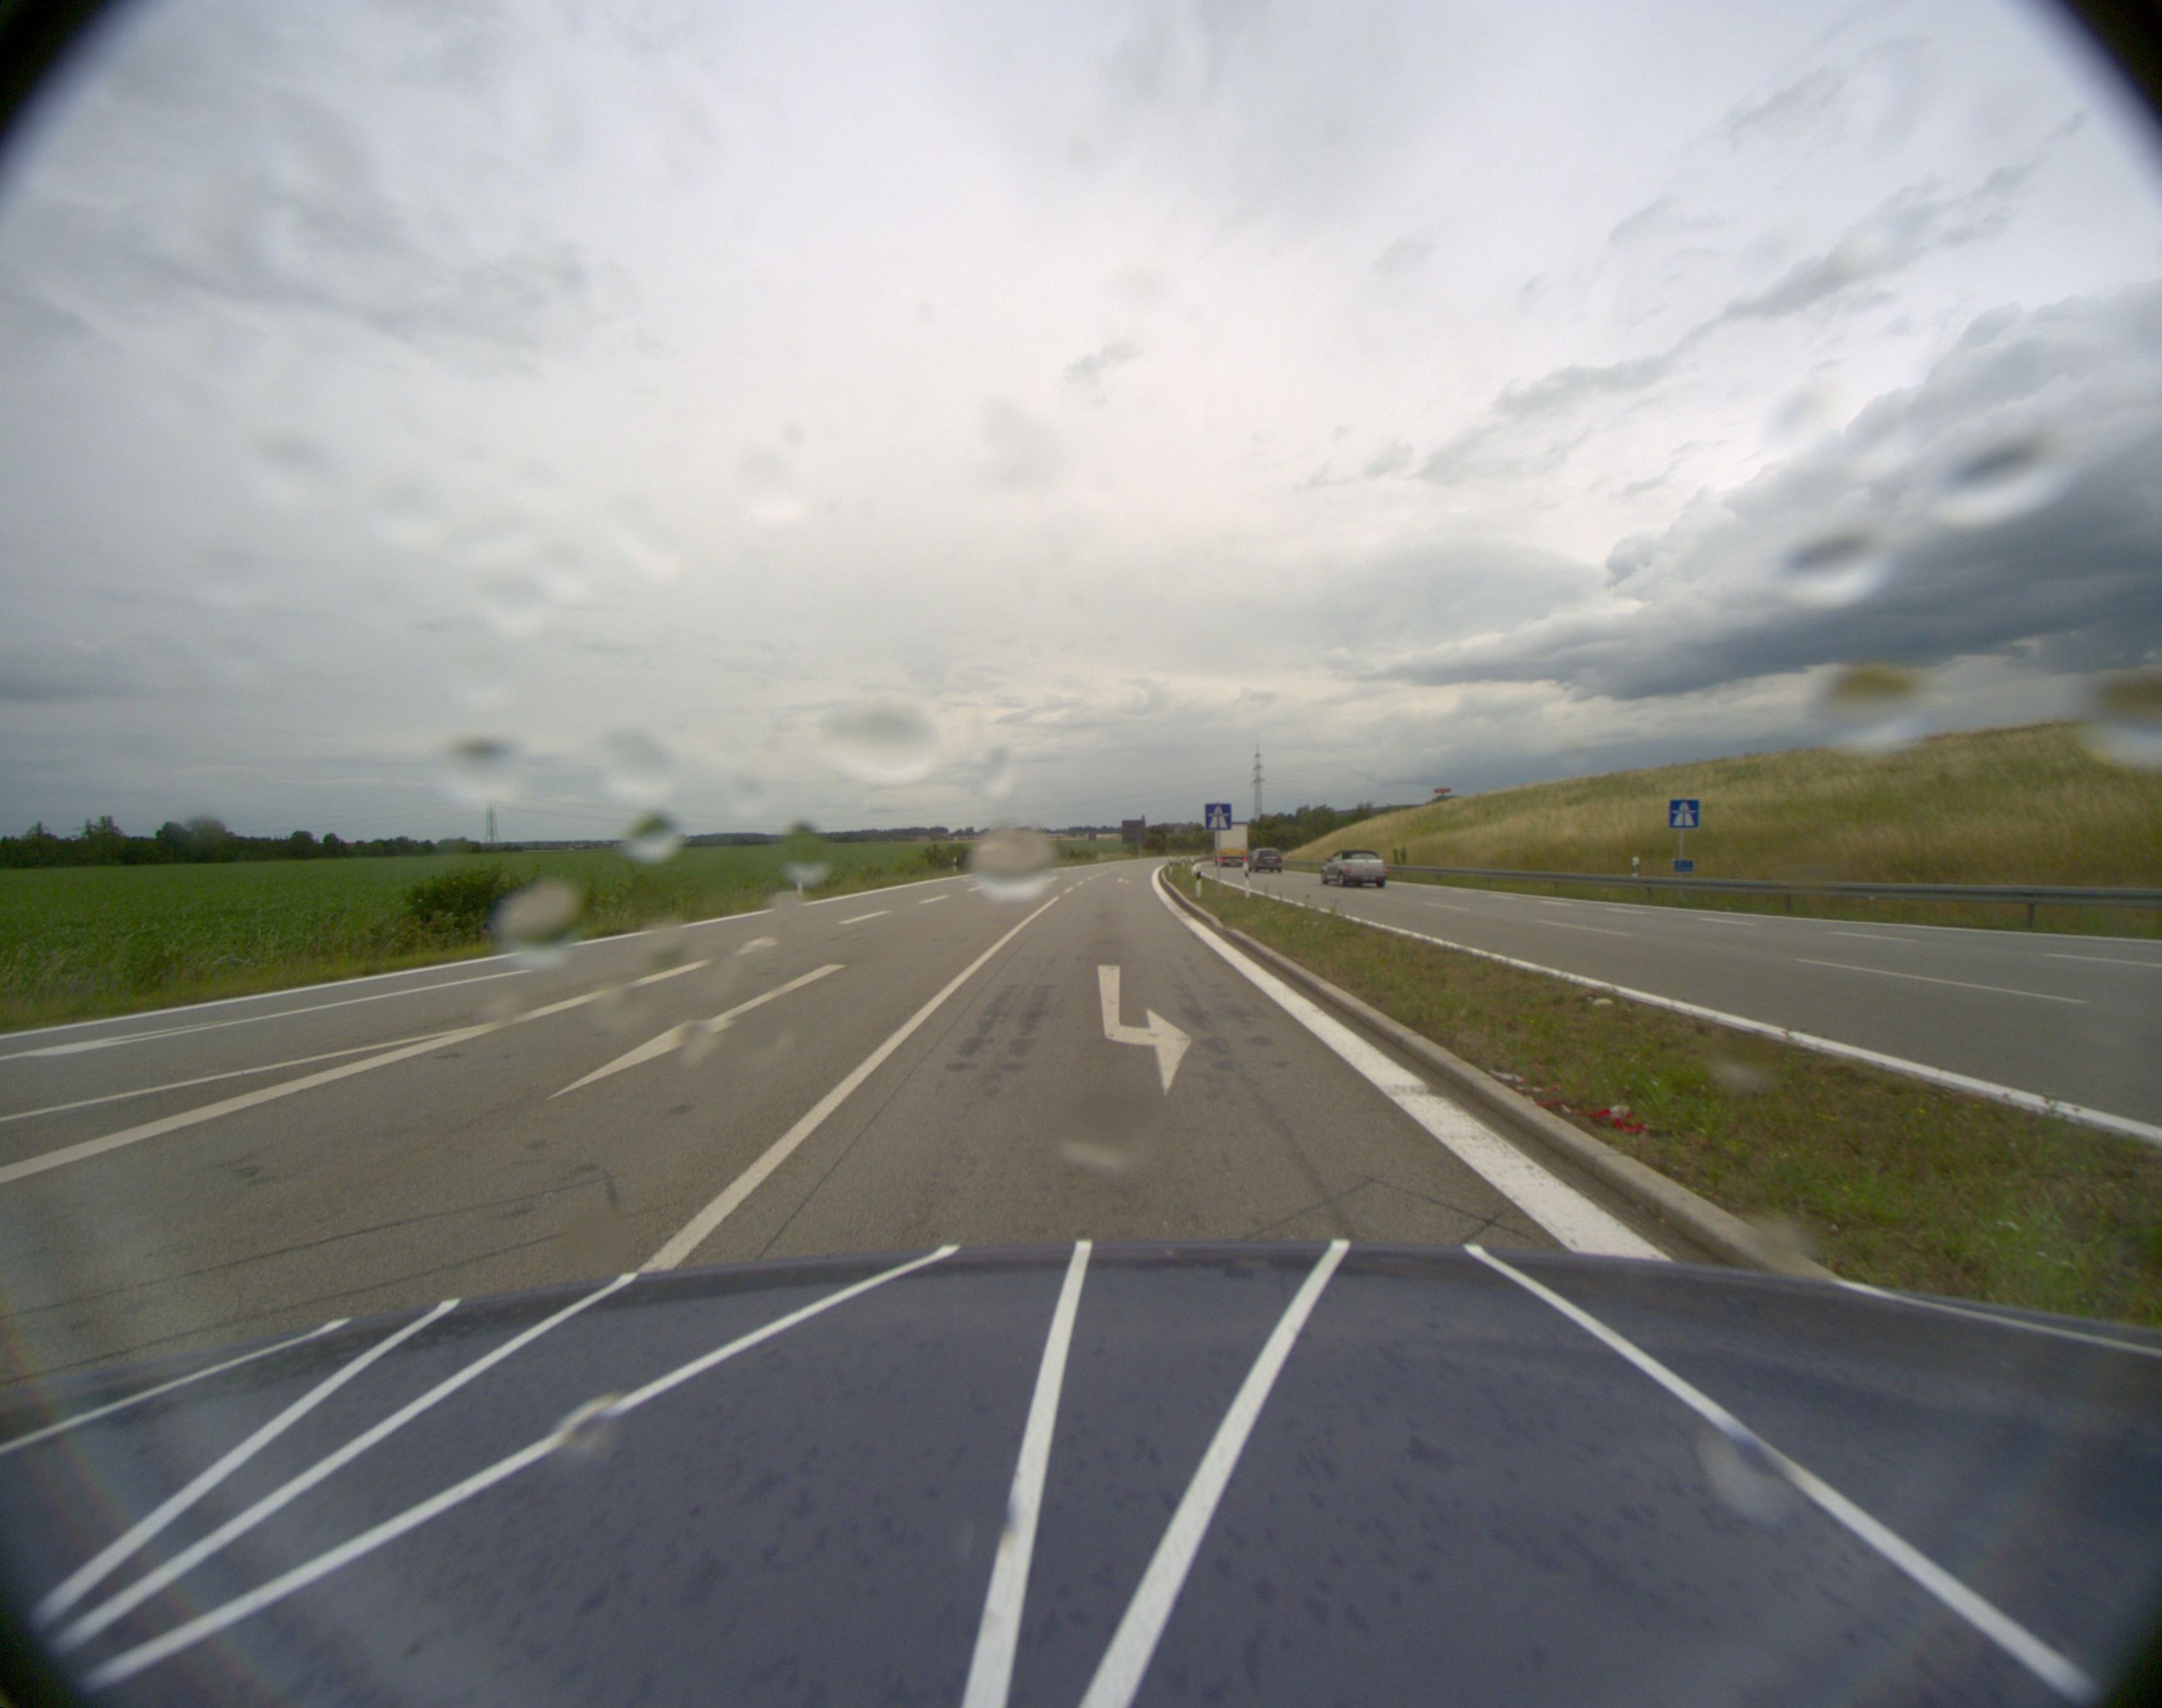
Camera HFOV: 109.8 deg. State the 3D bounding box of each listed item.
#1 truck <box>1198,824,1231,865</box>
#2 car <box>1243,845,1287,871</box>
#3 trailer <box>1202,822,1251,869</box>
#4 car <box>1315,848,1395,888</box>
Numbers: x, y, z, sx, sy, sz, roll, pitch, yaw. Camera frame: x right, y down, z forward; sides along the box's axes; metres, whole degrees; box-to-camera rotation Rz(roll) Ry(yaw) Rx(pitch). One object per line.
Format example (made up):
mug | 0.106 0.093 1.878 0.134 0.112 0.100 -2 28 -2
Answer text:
truck | 14.412 -1.063 82.139 2.656 4.118 6.403 -1 1 3
car | 12.756 0.234 52.925 1.998 1.684 4.454 -1 1 1
trailer | 14.101 -0.944 74.908 2.698 4.187 13.840 -1 1 3
car | 11.183 0.543 31.354 1.815 1.511 4.242 -2 0 1
